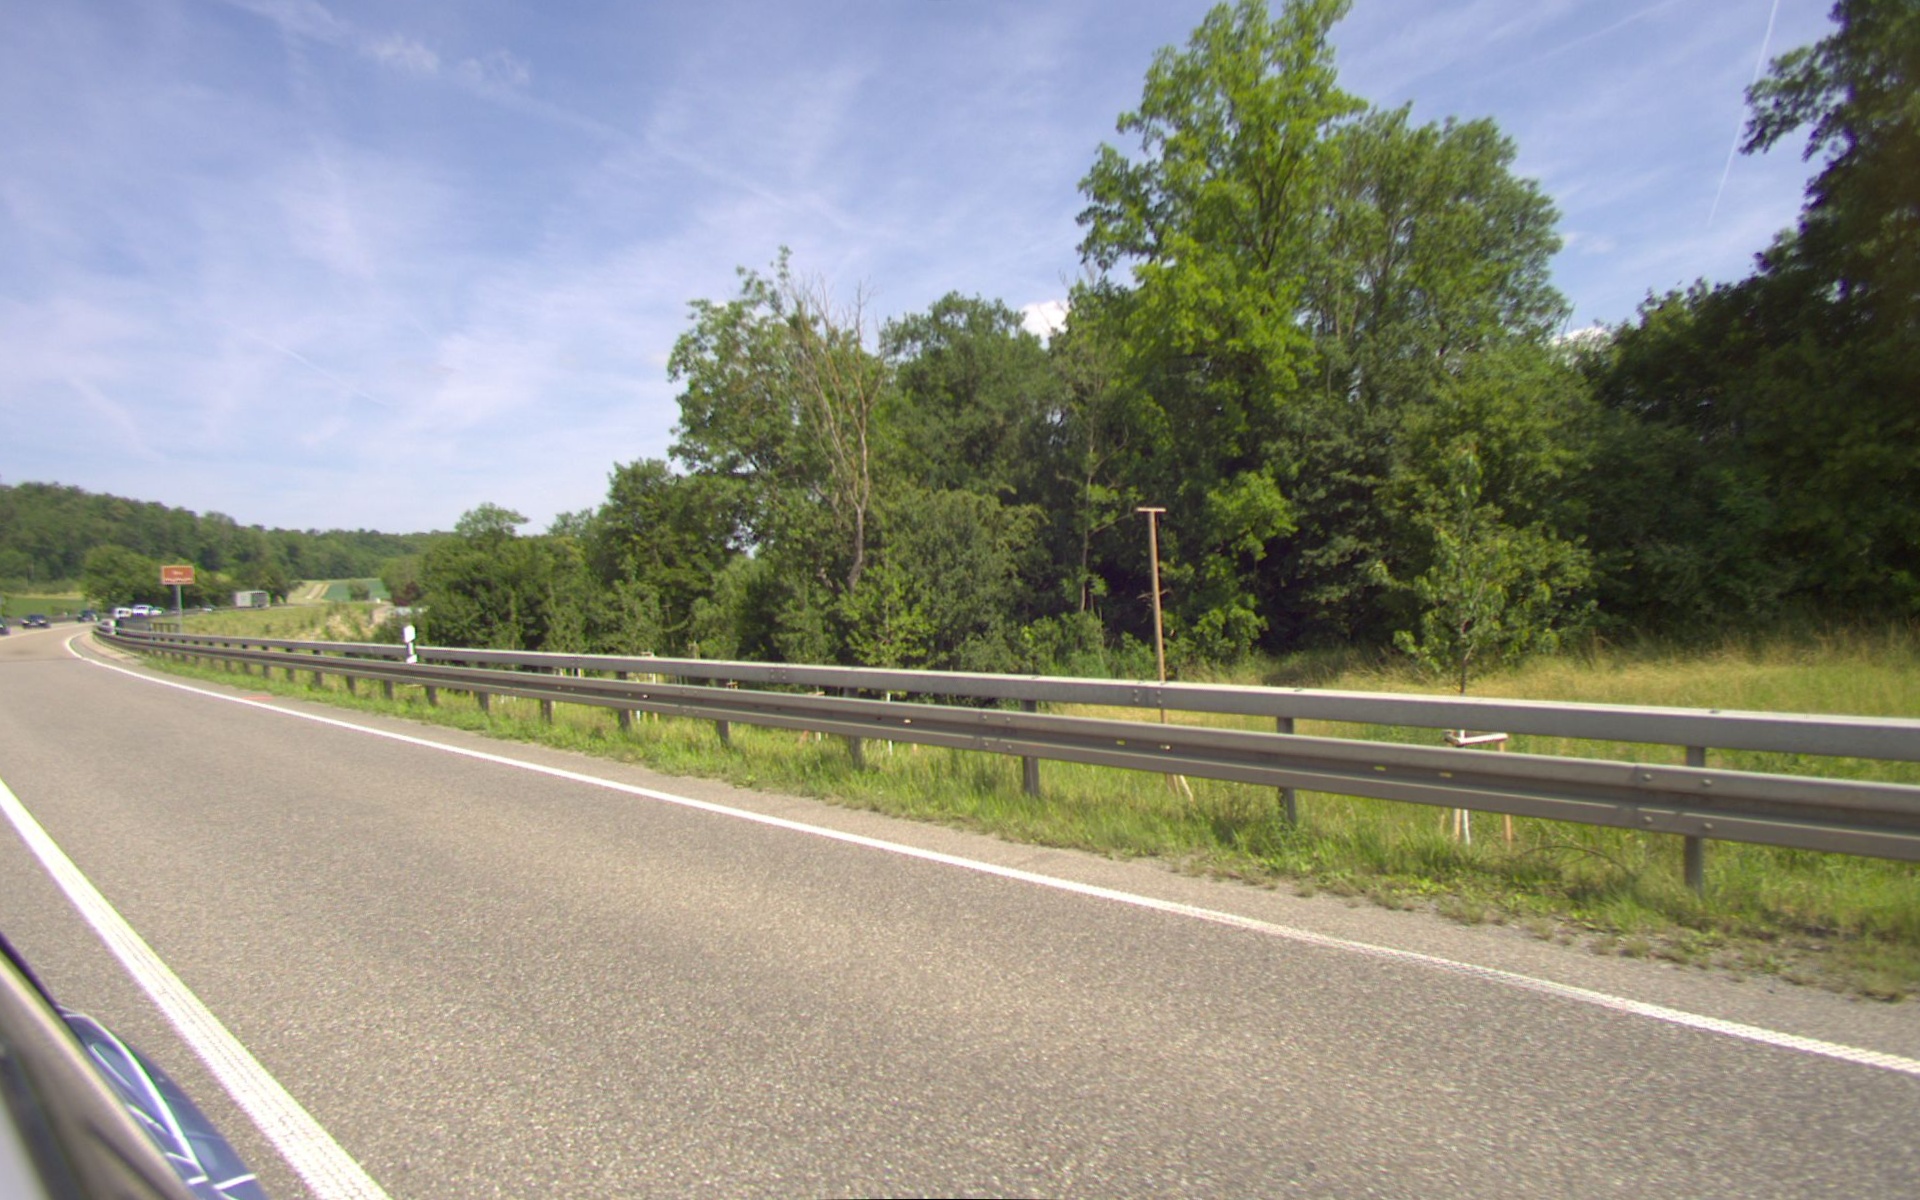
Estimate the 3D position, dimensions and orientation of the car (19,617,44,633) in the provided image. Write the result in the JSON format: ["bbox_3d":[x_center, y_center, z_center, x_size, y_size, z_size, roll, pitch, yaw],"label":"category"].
[{"bbox_3d":[-90.943,2.394,99.131,1.717,1.465,4.041,-1,0,-42],"label":"car"}]

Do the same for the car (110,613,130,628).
[{"bbox_3d":[-103.136,2.471,124.283,1.716,1.788,4.044,-1,0,-38],"label":"car"}]

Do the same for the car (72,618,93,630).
[{"bbox_3d":[-110.756,2.994,127.749,1.716,1.465,4.044,-1,0,-37],"label":"car"}]
